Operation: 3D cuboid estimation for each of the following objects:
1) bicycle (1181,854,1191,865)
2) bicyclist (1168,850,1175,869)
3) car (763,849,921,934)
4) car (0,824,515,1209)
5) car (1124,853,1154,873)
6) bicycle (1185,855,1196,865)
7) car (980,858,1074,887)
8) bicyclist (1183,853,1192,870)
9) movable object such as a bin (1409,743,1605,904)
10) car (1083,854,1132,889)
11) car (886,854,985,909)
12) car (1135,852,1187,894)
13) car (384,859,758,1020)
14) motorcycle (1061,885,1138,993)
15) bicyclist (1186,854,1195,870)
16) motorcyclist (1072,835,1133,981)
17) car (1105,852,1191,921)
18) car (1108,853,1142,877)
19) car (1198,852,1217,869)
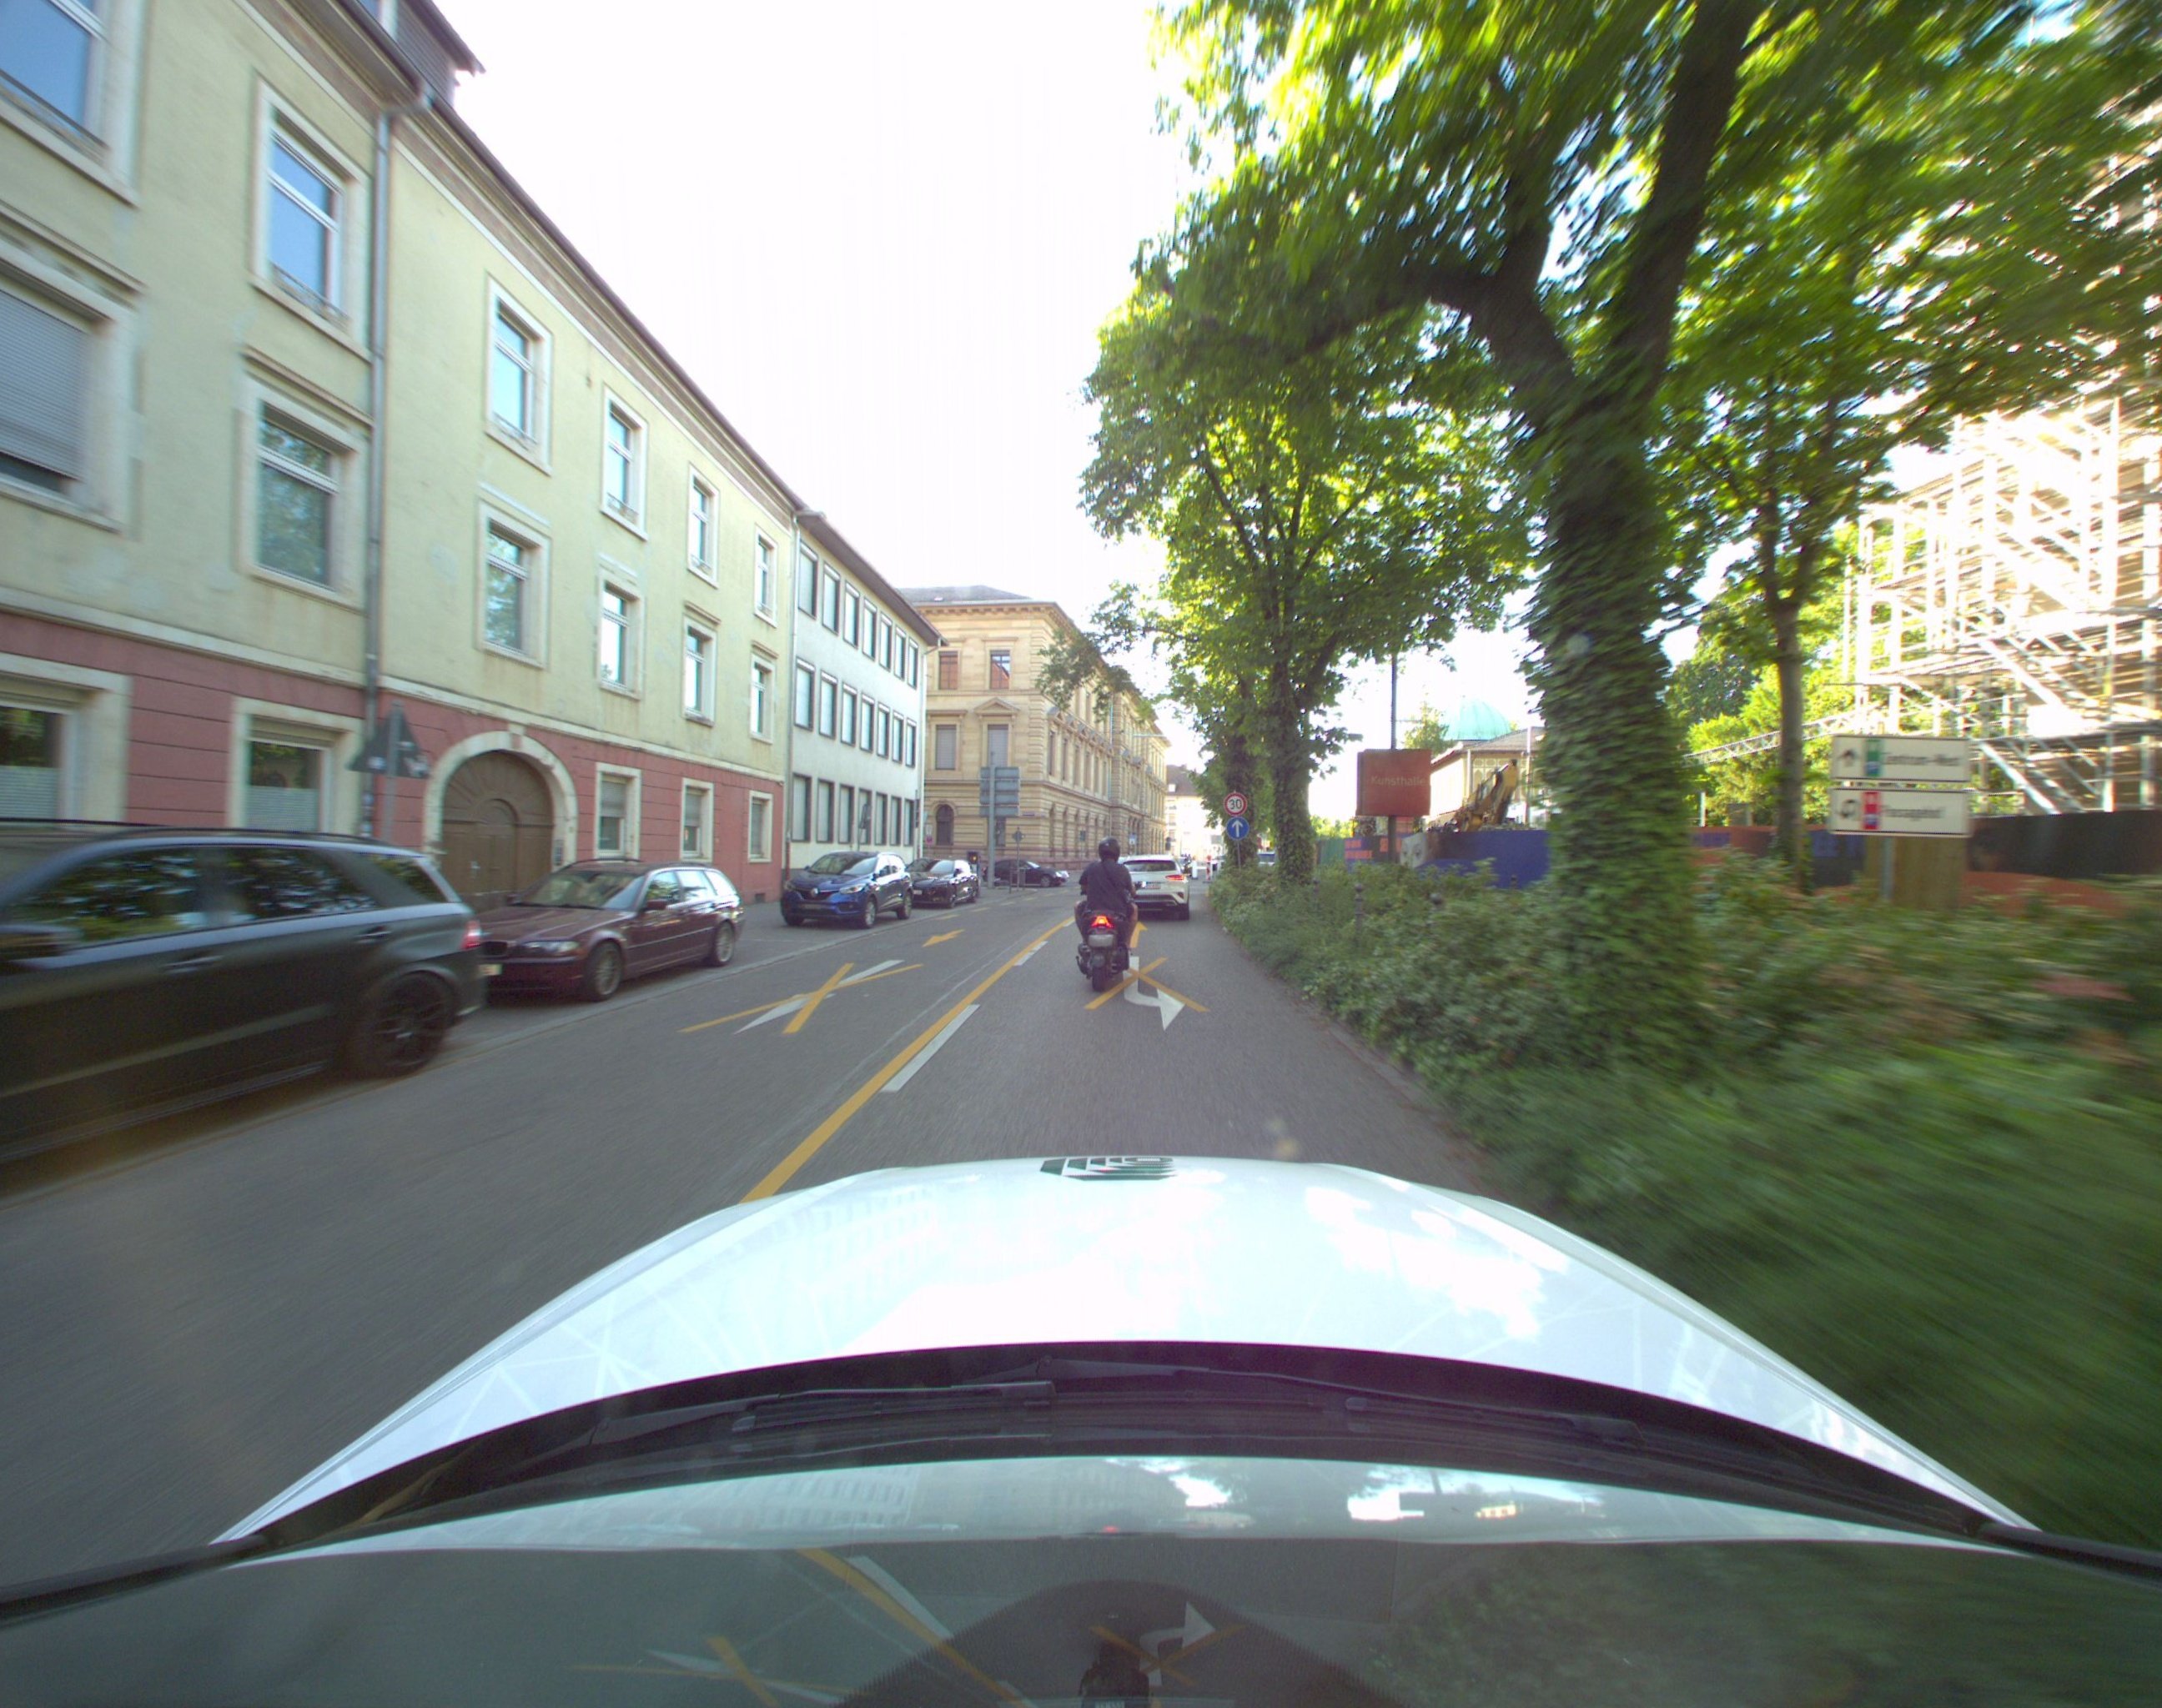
[{"bbox_3d":[9.889,0.497,76.307,0.528,1.035,1.916,0,0,19],"label":"bicycle"},{"bbox_3d":[8.004,0.442,71.927,0.562,1.667,0.837,0,0,11],"label":"bicyclist"},{"bbox_3d":[-5.174,0.735,18.332,1.924,1.667,4.353,0,0,5],"label":"car"},{"bbox_3d":[-5.660,0.709,4.286,1.915,1.679,4.787,0,0,2],"label":"car"},{"bbox_3d":[4.623,0.707,64.267,1.982,1.528,4.195,0,0,9],"label":"car"},{"bbox_3d":[10.850,0.581,80.603,0.528,1.035,2.047,0,0,25],"label":"bicycle"},{"bbox_3d":[-2.655,0.912,40.352,4.282,1.390,1.783,-1,0,14],"label":"car"},{"bbox_3d":[9.956,0.685,76.338,0.623,1.613,0.874,0,0,19],"label":"bicyclist"},{"bbox_3d":[13.732,-0.874,27.206,3.289,4.539,7.922,0,0,7],"label":"movable object such as a bin"},{"bbox_3d":[1.295,0.788,37.864,1.725,1.421,4.439,-3,0,9],"label":"car"},{"bbox_3d":[-4.430,0.789,25.509,1.815,1.503,4.767,2,0,5],"label":"car"},{"bbox_3d":[3.184,0.693,31.868,1.830,1.463,4.066,2,0,8],"label":"car"},{"bbox_3d":[-5.686,0.815,9.885,1.647,1.480,4.429,0,0,2],"label":"car"},{"bbox_3d":[0.220,0.943,9.610,0.793,1.066,1.726,2,0,1],"label":"motorcycle"},{"bbox_3d":[10.837,0.811,80.677,0.622,1.554,0.736,0,0,25],"label":"bicyclist"},{"bbox_3d":[0.249,0.619,9.648,0.655,1.650,0.651,2,0,0],"label":"motorcyclist"},{"bbox_3d":[1.625,0.702,19.825,1.842,1.480,4.063,-1,0,5],"label":"car"},{"bbox_3d":[3.174,0.752,57.756,1.982,1.567,4.300,0,0,9],"label":"car"},{"bbox_3d":[13.401,0.684,86.215,1.982,1.695,4.410,0,0,9],"label":"car"}]
